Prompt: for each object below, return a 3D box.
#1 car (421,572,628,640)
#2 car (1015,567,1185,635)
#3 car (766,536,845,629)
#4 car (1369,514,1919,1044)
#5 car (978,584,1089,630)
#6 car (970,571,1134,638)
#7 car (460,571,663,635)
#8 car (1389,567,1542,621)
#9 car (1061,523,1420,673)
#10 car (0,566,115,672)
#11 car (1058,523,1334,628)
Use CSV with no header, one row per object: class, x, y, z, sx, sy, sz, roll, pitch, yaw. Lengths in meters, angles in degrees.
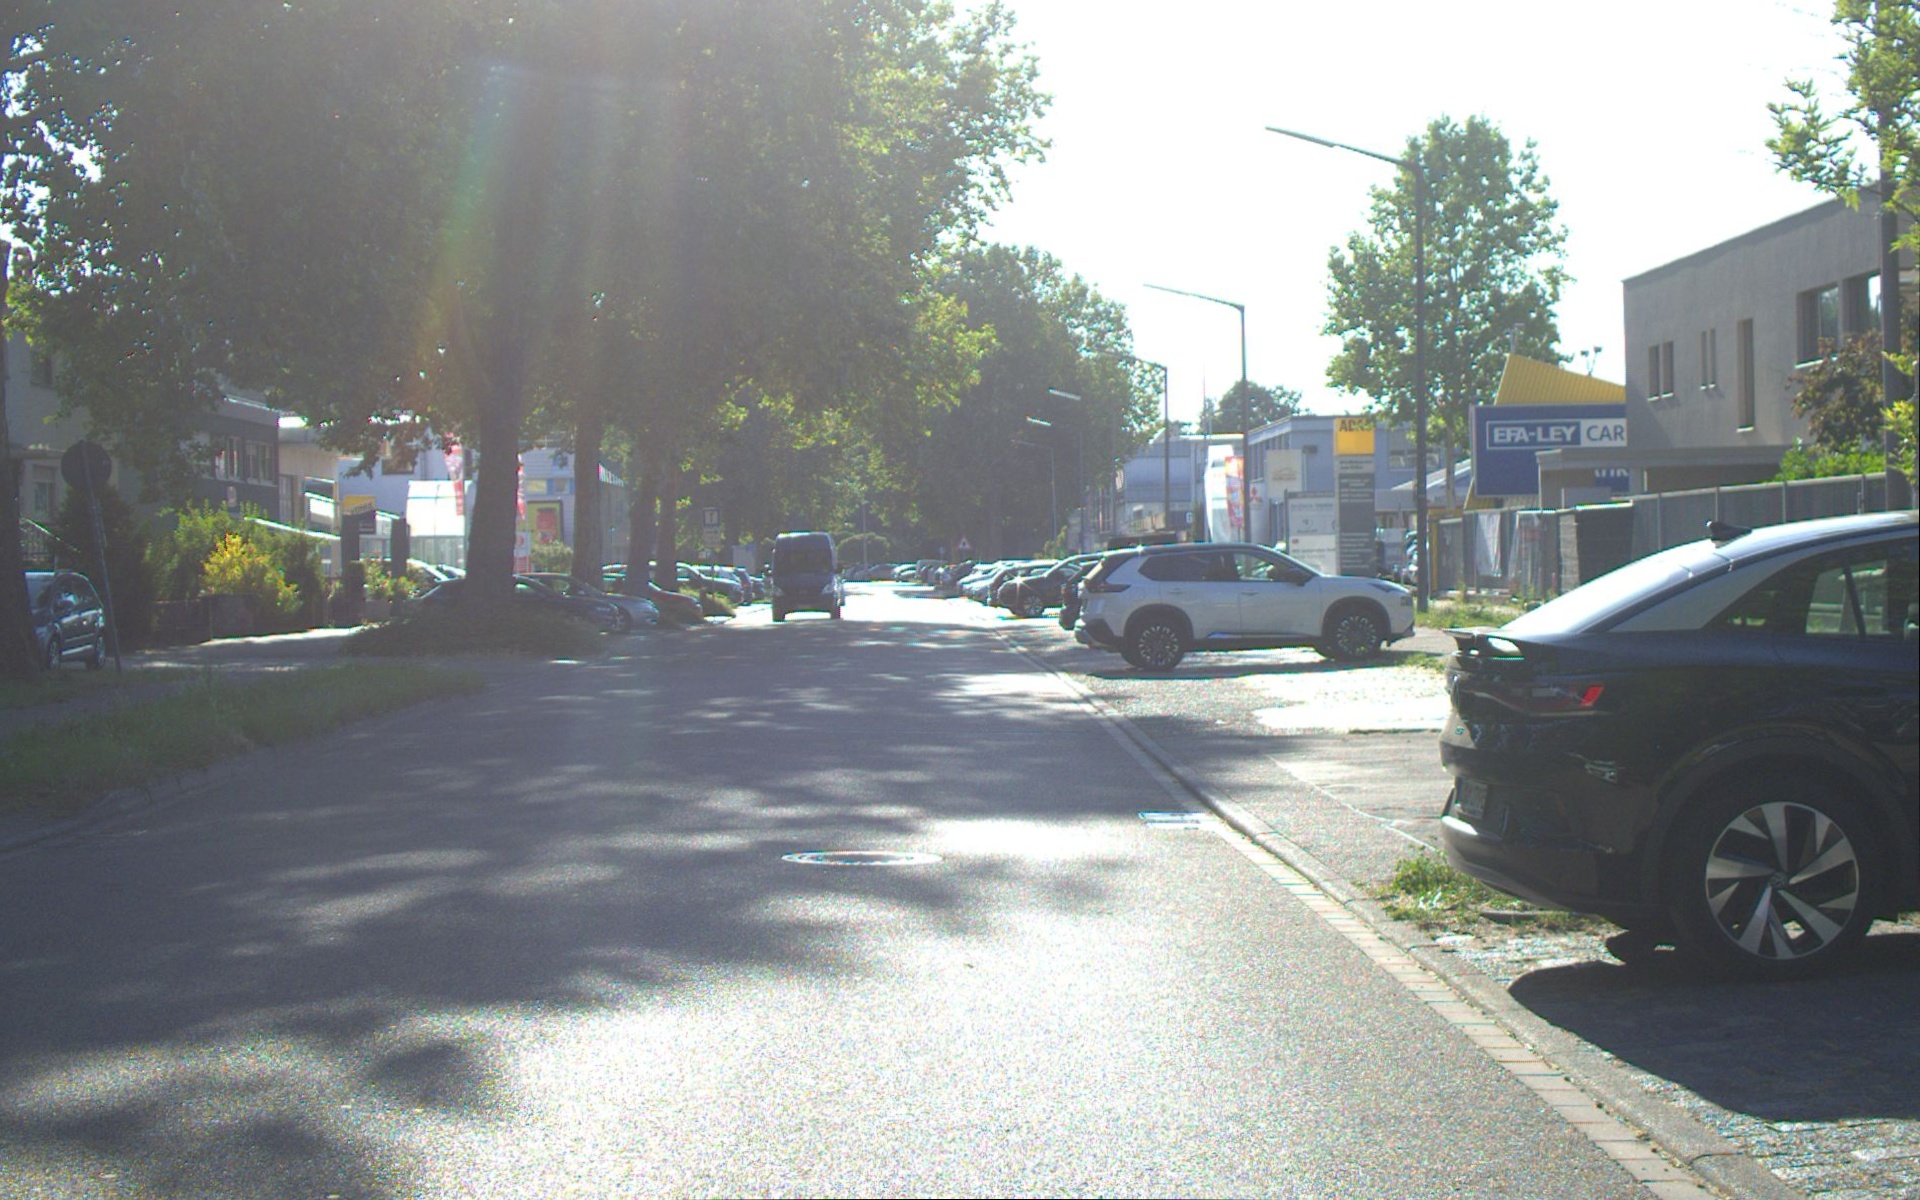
car,-9.515,0.120,75.368,4.353,1.417,2.000,-1,1,-3
car,3.886,0.022,95.970,4.601,1.574,2.000,-4,0,1
car,-4.651,-0.587,104.190,2.127,2.650,7.002,-1,1,-1
car,4.020,0.507,12.839,4.569,1.710,1.944,-4,0,-4
car,2.772,0.255,130.200,3.986,1.582,1.868,-2,0,-4
car,2.673,0.128,100.631,4.600,1.608,2.000,-4,0,-1
car,-9.388,0.064,81.279,4.599,1.417,2.000,-1,1,-1
car,14.450,-0.176,98.408,3.986,1.514,1.953,0,0,-5
car,3.819,-0.030,47.372,4.624,1.706,2.000,-4,0,-2
car,-14.628,0.276,53.200,1.993,1.570,4.273,0,0,1
car,4.177,-0.431,61.350,4.624,1.521,2.000,-4,0,-2
